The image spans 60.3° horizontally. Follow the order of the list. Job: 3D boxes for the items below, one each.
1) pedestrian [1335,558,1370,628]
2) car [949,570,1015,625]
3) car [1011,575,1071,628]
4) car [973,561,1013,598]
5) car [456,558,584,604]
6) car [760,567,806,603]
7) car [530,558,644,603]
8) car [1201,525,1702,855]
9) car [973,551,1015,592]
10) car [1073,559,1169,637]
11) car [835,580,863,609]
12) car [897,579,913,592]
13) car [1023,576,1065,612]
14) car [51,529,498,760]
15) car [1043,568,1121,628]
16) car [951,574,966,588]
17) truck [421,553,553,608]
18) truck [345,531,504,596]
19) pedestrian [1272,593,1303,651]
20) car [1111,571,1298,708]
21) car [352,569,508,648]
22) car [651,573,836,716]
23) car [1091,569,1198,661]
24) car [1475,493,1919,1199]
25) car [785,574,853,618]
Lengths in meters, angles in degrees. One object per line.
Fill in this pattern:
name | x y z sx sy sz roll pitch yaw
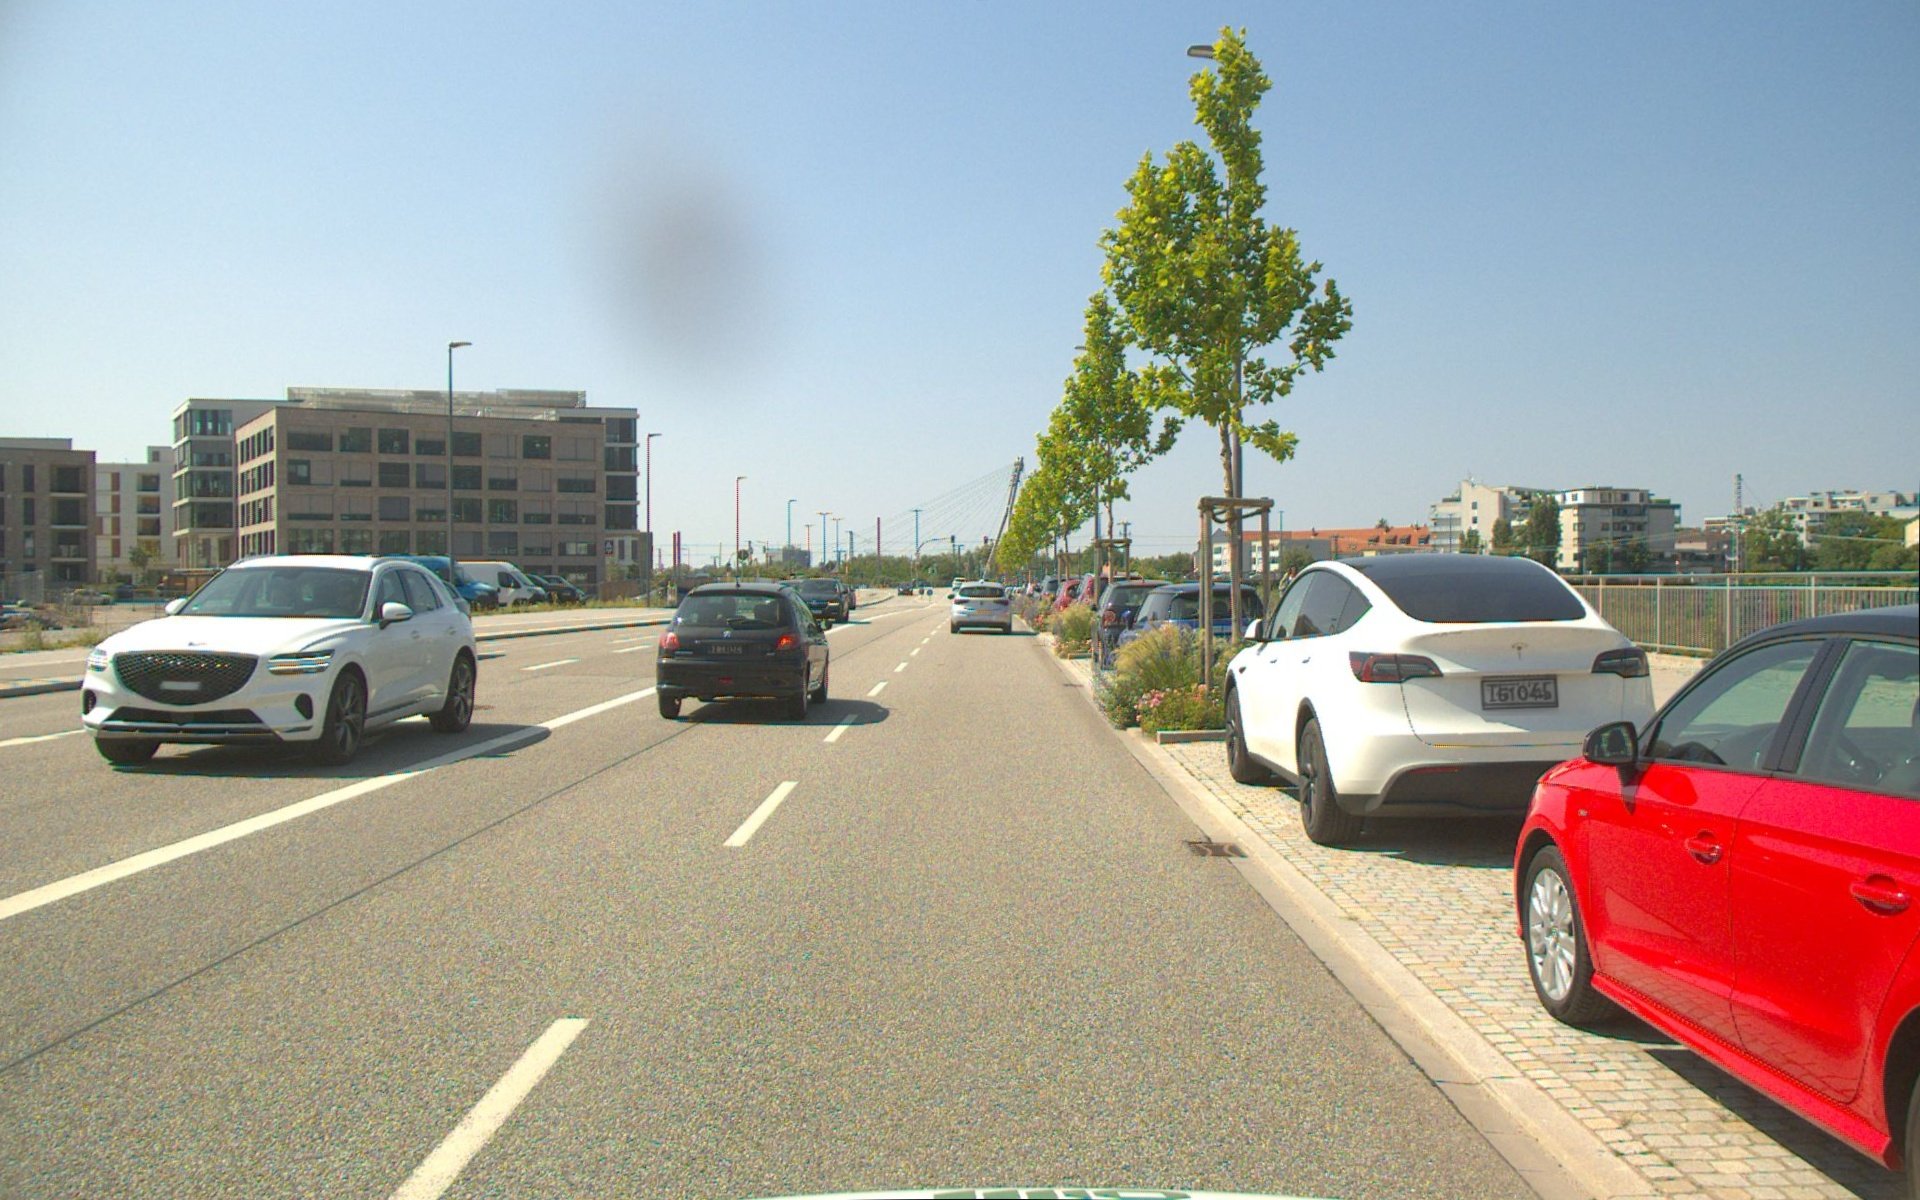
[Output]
pedestrian | 9.897 -0.181 41.694 0.716 1.735 0.651 1 -1 1
car | 0.670 -0.080 48.025 1.741 1.467 4.002 1 0 3
car | 2.608 0.024 54.054 1.699 1.636 4.240 -2 1 0
car | 1.549 -0.918 76.784 1.741 1.596 4.001 1 -1 2
car | -22.020 -0.976 82.977 5.763 2.203 2.395 0 1 -2
car | -7.748 -0.651 72.798 1.758 1.441 3.997 1 -1 -3
car | -19.077 -0.994 84.826 5.334 2.211 2.394 -1 0 -3
car | 2.873 0.443 10.911 1.834 1.655 4.876 -1 0 0
car | 1.566 -1.316 77.682 1.757 1.780 3.998 1 -1 -2
car | 3.611 -0.093 37.715 1.869 1.645 4.550 0 1 2
car | -6.580 -0.302 98.298 1.548 1.590 3.671 1 -1 -3
car | -6.368 -1.671 191.561 1.669 1.376 4.456 -1 0 1
car | 3.696 -0.286 73.254 1.682 1.476 4.001 1 1 0
car | -5.667 0.307 14.439 1.874 1.678 4.731 0 0 1
car | 3.292 -0.078 45.304 1.572 1.517 3.815 -2 1 -4
car | -0.202 -2.399 212.301 1.816 1.678 4.000 1 0 0
truck | -21.829 -0.905 76.498 5.453 2.404 2.275 -1 0 -1
truck | -22.376 -1.530 69.272 5.882 2.587 2.275 -1 0 -1
pedestrian | 10.134 0.674 51.189 0.764 1.735 0.742 1 0 1
car | 2.965 0.414 20.854 1.869 1.504 4.159 -1 1 2
car | -10.449 0.188 32.864 1.855 1.440 3.598 1 -1 1
car | -2.382 0.443 18.993 1.586 1.441 3.727 1 0 0
car | 3.213 0.221 29.374 1.586 1.504 3.825 0 1 2
car | 3.000 0.547 4.541 1.952 1.545 4.001 1 1 1
car | -4.792 -0.145 56.750 1.750 1.422 4.573 1 0 2
